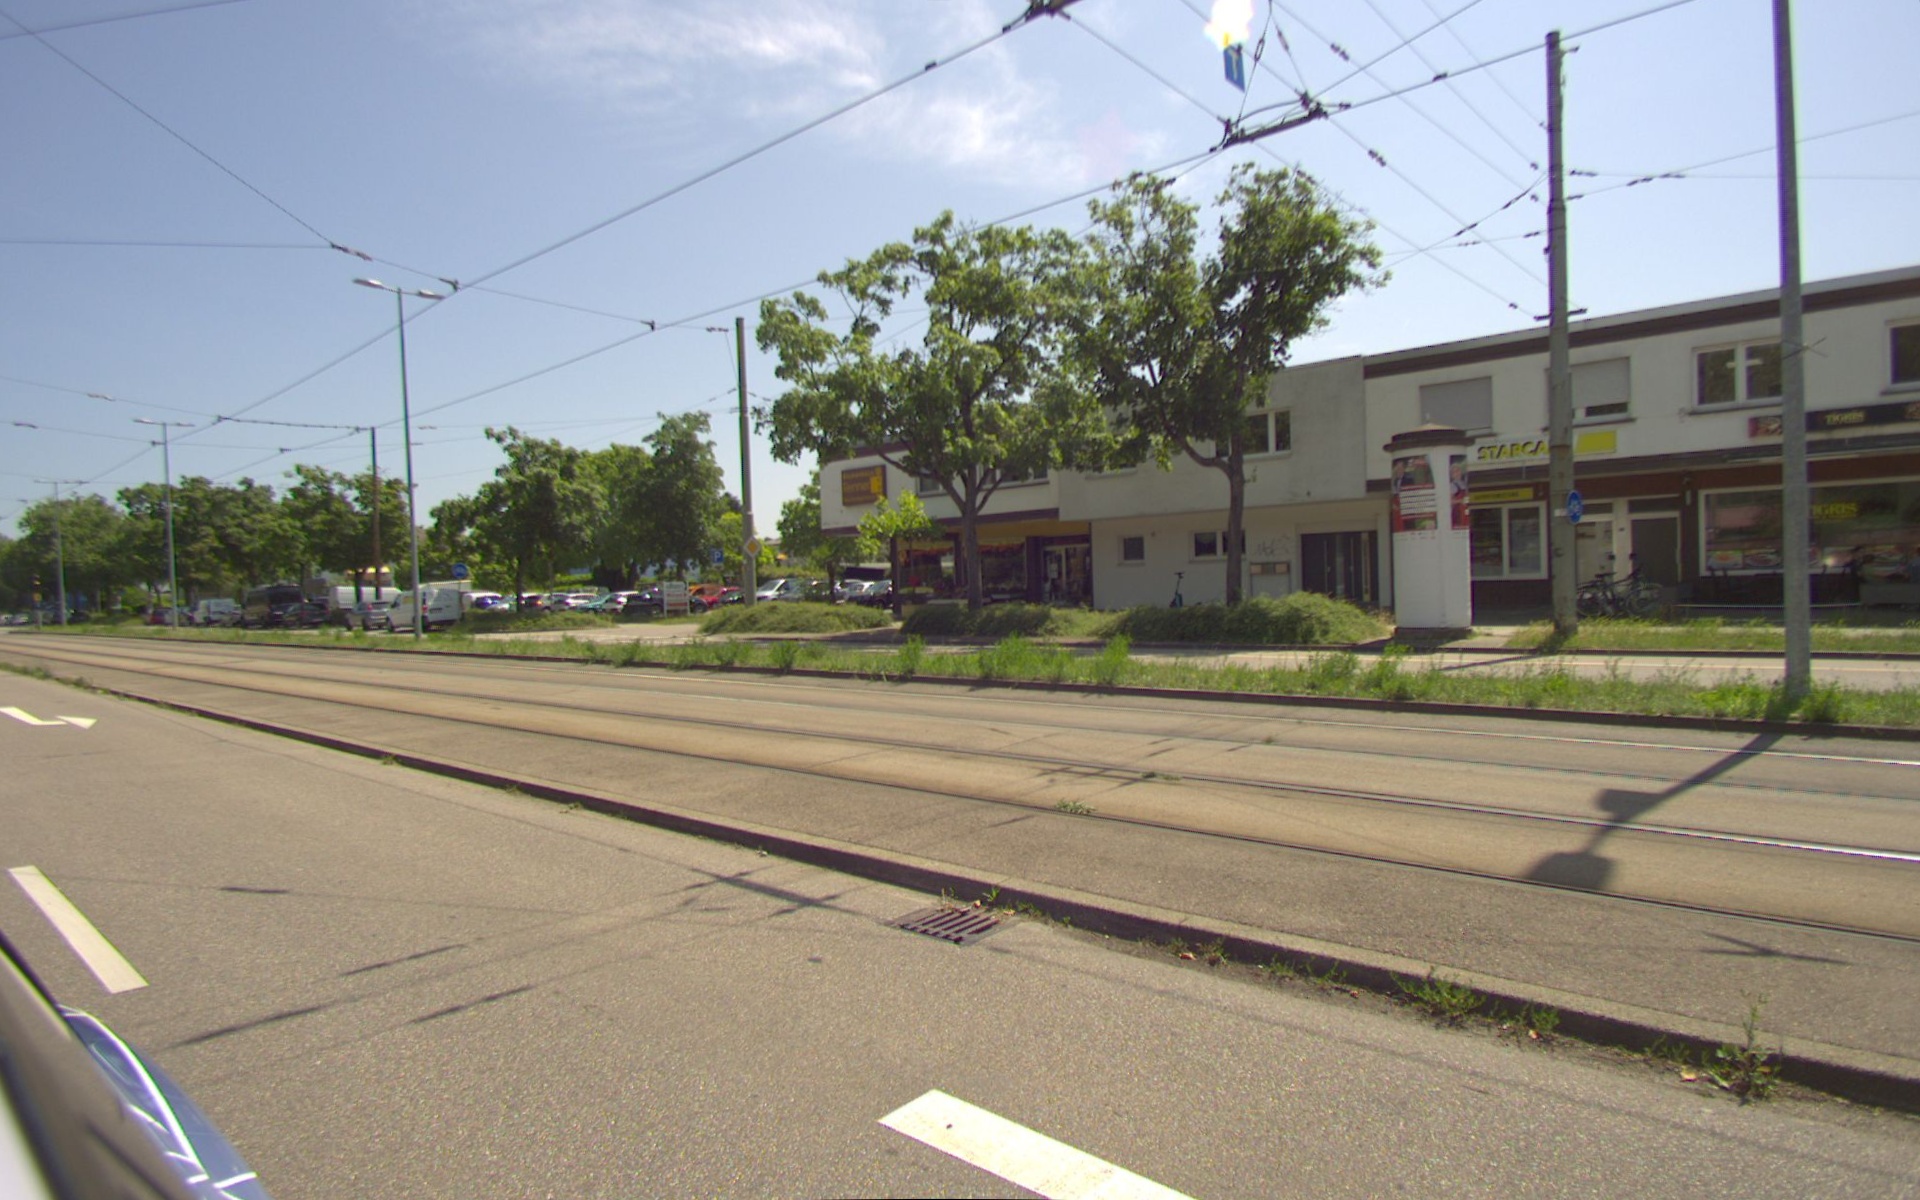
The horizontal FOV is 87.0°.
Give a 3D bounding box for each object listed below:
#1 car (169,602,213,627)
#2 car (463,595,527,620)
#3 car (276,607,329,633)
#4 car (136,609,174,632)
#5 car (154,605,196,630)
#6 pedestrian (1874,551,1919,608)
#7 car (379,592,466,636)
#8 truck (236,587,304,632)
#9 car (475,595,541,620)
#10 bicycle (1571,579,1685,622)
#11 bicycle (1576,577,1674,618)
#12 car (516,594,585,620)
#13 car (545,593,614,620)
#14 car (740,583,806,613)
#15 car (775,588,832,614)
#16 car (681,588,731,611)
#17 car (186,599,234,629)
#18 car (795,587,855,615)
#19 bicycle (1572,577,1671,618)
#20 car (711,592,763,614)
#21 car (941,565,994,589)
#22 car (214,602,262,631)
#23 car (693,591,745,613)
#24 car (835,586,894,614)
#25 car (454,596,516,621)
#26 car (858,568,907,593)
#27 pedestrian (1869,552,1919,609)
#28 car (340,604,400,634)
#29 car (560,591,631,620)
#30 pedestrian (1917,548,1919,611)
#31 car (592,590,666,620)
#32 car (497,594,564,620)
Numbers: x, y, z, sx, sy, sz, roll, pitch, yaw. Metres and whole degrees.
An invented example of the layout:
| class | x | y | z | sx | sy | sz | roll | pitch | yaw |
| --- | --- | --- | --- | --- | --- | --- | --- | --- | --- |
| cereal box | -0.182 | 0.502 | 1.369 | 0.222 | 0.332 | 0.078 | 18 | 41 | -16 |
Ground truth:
| class | x | y | z | sx | sy | sz | roll | pitch | yaw |
| --- | --- | --- | --- | --- | --- | --- | --- | --- | --- |
| car | -56.806 | 1.077 | 74.719 | 4.199 | 1.807 | 1.660 | -1 | 1 | 40 |
| car | -29.814 | 0.470 | 64.956 | 1.600 | 1.404 | 3.375 | -1 | 1 | 35 |
| car | -37.459 | 1.127 | 57.597 | 3.669 | 1.397 | 1.653 | -1 | 1 | 43 |
| car | -65.391 | 1.666 | 82.228 | 3.820 | 1.716 | 1.660 | -1 | 1 | 40 |
| car | -60.268 | 1.315 | 77.672 | 4.199 | 1.807 | 1.660 | -2 | 0 | 40 |
| pedestrian | 19.806 | -0.430 | 21.387 | 0.674 | 1.172 | 0.512 | -1 | 1 | 41 |
| car | -25.035 | 0.646 | 47.078 | 4.659 | 1.897 | 1.973 | -1 | 1 | 41 |
| truck | -42.073 | 0.601 | 61.677 | 4.926 | 2.560 | 2.197 | -1 | 1 | 41 |
| car | -27.951 | 0.446 | 62.675 | 1.600 | 1.404 | 3.375 | -1 | 1 | 35 |
| bicycle | 14.141 | 0.022 | 21.460 | 1.958 | 0.854 | 0.596 | -1 | 3 | 41 |
| bicycle | 15.090 | -0.048 | 22.989 | 1.786 | 0.854 | 0.523 | -1 | 3 | 41 |
| car | -23.811 | 0.393 | 58.912 | 1.600 | 1.404 | 3.375 | -1 | 1 | 35 |
| car | -21.736 | 0.366 | 57.872 | 1.600 | 1.404 | 3.375 | -1 | 1 | 35 |
| car | -12.021 | -0.160 | 65.347 | 1.811 | 1.798 | 3.950 | -1 | 1 | 38 |
| car | -9.918 | 0.039 | 64.122 | 1.532 | 1.549 | 3.450 | -1 | 1 | 37 |
| car | -18.456 | -0.052 | 73.601 | 1.504 | 1.573 | 3.315 | -1 | 1 | 38 |
| car | -52.609 | 1.010 | 70.928 | 4.506 | 1.989 | 1.660 | -1 | 1 | 40 |
| car | -8.252 | 0.034 | 61.988 | 1.622 | 1.549 | 3.450 | -1 | 1 | 38 |
| bicycle | 14.724 | -0.040 | 22.557 | 1.786 | 0.854 | 0.523 | -1 | 3 | 41 |
| car | -15.294 | 0.194 | 69.488 | 1.504 | 1.400 | 3.315 | -1 | 1 | 38 |
| car | 0.587 | -1.781 | 78.553 | 2.000 | 1.785 | 3.944 | -1 | 1 | 42 |
| car | -48.216 | 1.100 | 67.522 | 3.866 | 1.807 | 1.660 | -1 | 1 | 40 |
| car | -16.998 | 0.132 | 71.428 | 1.504 | 1.469 | 3.315 | -1 | 1 | 38 |
| car | -5.737 | -0.024 | 61.096 | 1.622 | 1.549 | 3.450 | -1 | 1 | 38 |
| car | -31.466 | 0.545 | 67.129 | 1.600 | 1.517 | 3.375 | -1 | 1 | 35 |
| car | -6.682 | -1.721 | 87.542 | 2.000 | 2.029 | 3.944 | -1 | 1 | 42 |
| pedestrian | 19.302 | -0.396 | 20.856 | 0.810 | 1.136 | 0.558 | -1 | 1 | 41 |
| car | -29.928 | 0.975 | 51.291 | 3.568 | 1.397 | 1.653 | -1 | 1 | 43 |
| car | -20.163 | 0.300 | 56.016 | 1.595 | 1.502 | 3.375 | -1 | 1 | 35 |
| pedestrian | 19.262 | -0.417 | 19.975 | 0.491 | 1.248 | 0.569 | -1 | 1 | 40 |
| car | -17.918 | 0.245 | 54.841 | 1.790 | 1.502 | 3.375 | -1 | 1 | 35 |
| car | -25.962 | 0.420 | 61.303 | 1.600 | 1.404 | 3.375 | -1 | 1 | 35 |
